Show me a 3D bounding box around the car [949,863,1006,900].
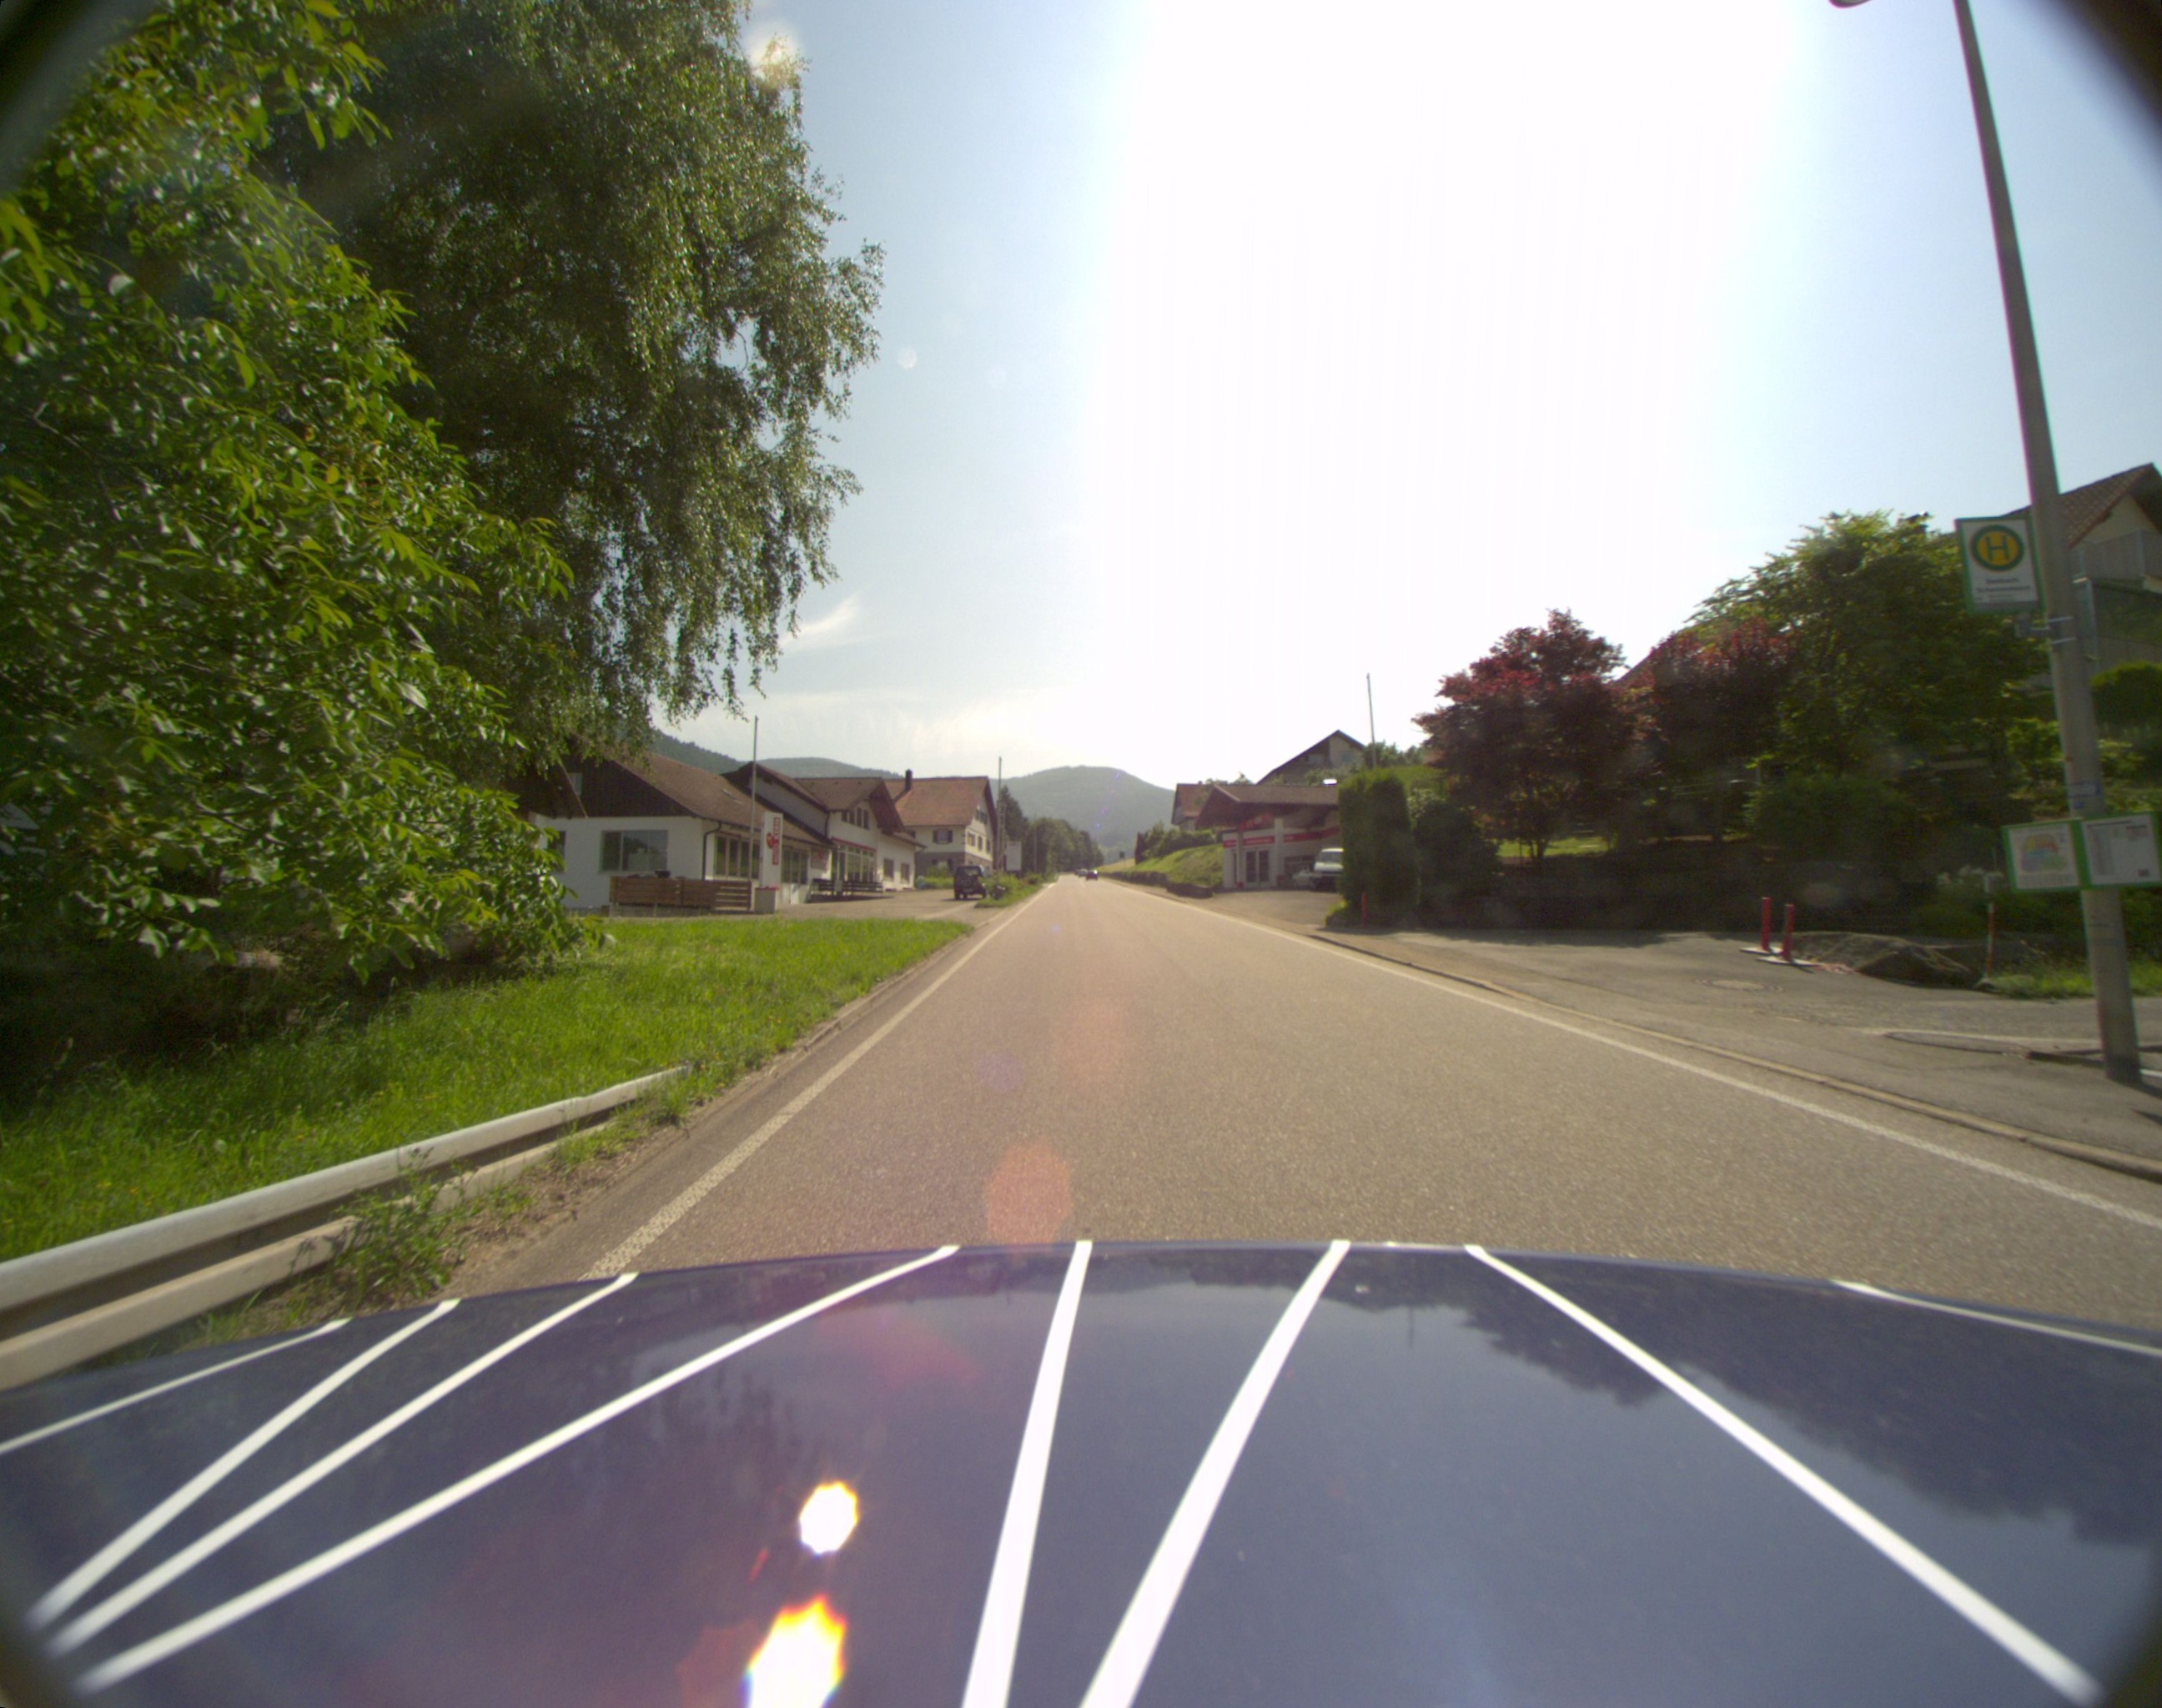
[{"bbox_3d":[-5.400,1.411,40.262,1.812,1.802,4.666,1,-1,7],"label":"car"}]

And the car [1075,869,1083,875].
[{"bbox_3d":[-0.546,4.923,209.622,1.816,1.500,4.262,-1,-1,-3],"label":"car"}]

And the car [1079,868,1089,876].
[{"bbox_3d":[0.650,3.591,153.415,1.816,1.500,4.262,-1,-1,-3],"label":"car"}]

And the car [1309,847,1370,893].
[{"bbox_3d":[12.299,0.669,35.992,2.021,1.919,4.786,2,2,27],"label":"car"}]

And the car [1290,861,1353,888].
[{"bbox_3d":[13.397,1.187,42.607,1.963,1.405,4.344,0,-2,-2],"label":"car"}]

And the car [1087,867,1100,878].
[{"bbox_3d":[1.834,2.745,112.651,1.816,1.500,4.262,-1,-1,-2],"label":"car"}]
